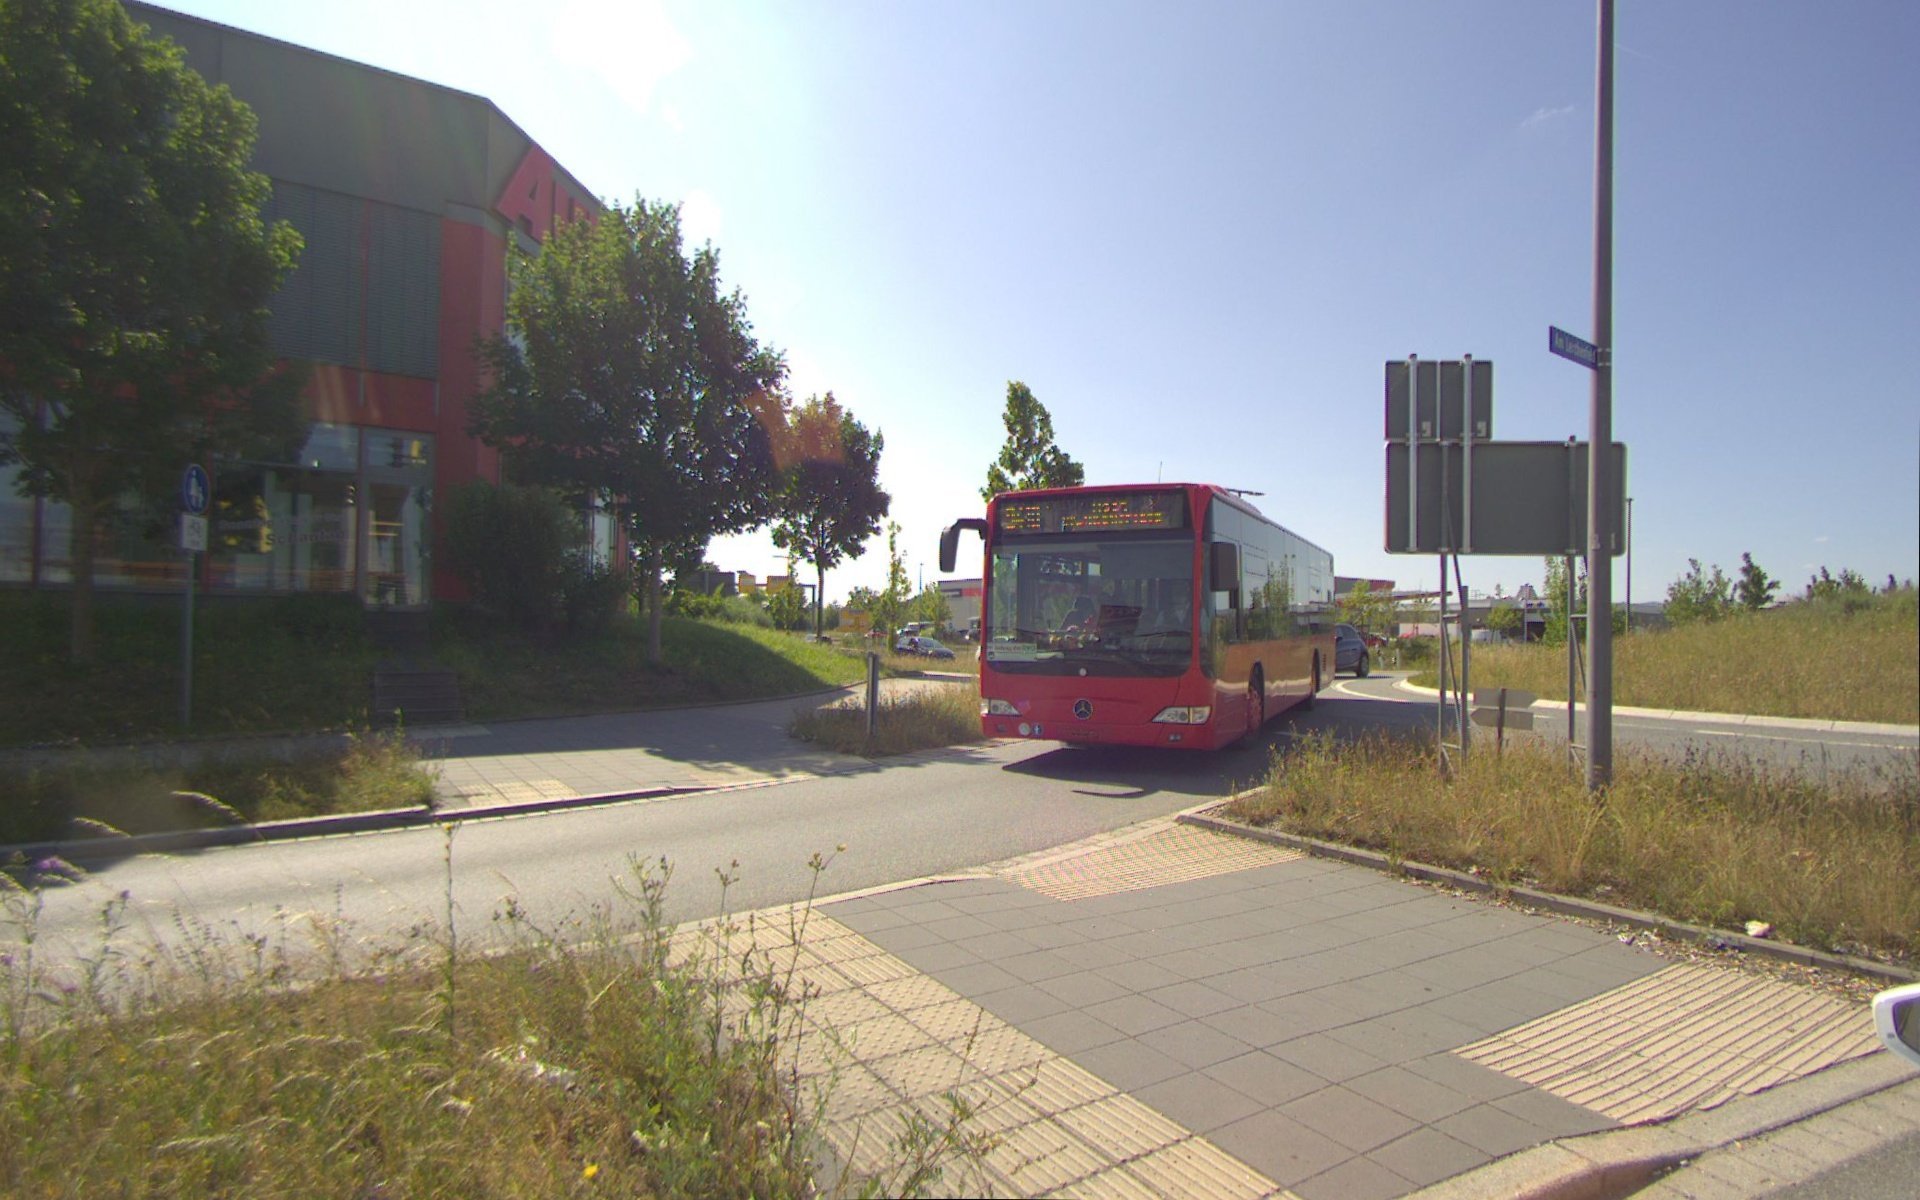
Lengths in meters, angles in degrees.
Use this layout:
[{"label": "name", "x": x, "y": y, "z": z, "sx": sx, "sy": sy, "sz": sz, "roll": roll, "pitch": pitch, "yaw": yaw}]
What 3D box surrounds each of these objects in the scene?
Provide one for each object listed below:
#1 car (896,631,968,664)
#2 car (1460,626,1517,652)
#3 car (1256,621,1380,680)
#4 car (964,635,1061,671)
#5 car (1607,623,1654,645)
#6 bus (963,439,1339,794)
[{"label": "car", "x": -1.400, "y": 2.263, "z": 48.560, "sx": 1.629, "sy": 1.507, "sz": 3.866, "roll": 0, "pitch": -1, "yaw": -35}, {"label": "car", "x": 43.393, "y": 3.183, "z": 82.417, "sx": 5.084, "sy": 2.040, "sz": 1.981, "roll": 3, "pitch": -2, "yaw": -35}, {"label": "car", "x": 10.859, "y": 1.489, "z": 30.335, "sx": 4.049, "sy": 1.657, "sz": 1.835, "roll": 1, "pitch": -3, "yaw": -42}, {"label": "car", "x": 2.148, "y": 2.198, "z": 42.249, "sx": 1.780, "sy": 1.434, "sz": 4.338, "roll": 3, "pitch": -3, "yaw": -36}, {"label": "car", "x": 57.898, "y": 2.920, "z": 86.663, "sx": 3.957, "sy": 1.754, "sz": 1.982, "roll": 2, "pitch": -2, "yaw": -33}, {"label": "bus", "x": 3.780, "y": 0.325, "z": 15.217, "sx": 2.569, "sy": 3.284, "sz": 11.870, "roll": -2, "pitch": -2, "yaw": 26}]
